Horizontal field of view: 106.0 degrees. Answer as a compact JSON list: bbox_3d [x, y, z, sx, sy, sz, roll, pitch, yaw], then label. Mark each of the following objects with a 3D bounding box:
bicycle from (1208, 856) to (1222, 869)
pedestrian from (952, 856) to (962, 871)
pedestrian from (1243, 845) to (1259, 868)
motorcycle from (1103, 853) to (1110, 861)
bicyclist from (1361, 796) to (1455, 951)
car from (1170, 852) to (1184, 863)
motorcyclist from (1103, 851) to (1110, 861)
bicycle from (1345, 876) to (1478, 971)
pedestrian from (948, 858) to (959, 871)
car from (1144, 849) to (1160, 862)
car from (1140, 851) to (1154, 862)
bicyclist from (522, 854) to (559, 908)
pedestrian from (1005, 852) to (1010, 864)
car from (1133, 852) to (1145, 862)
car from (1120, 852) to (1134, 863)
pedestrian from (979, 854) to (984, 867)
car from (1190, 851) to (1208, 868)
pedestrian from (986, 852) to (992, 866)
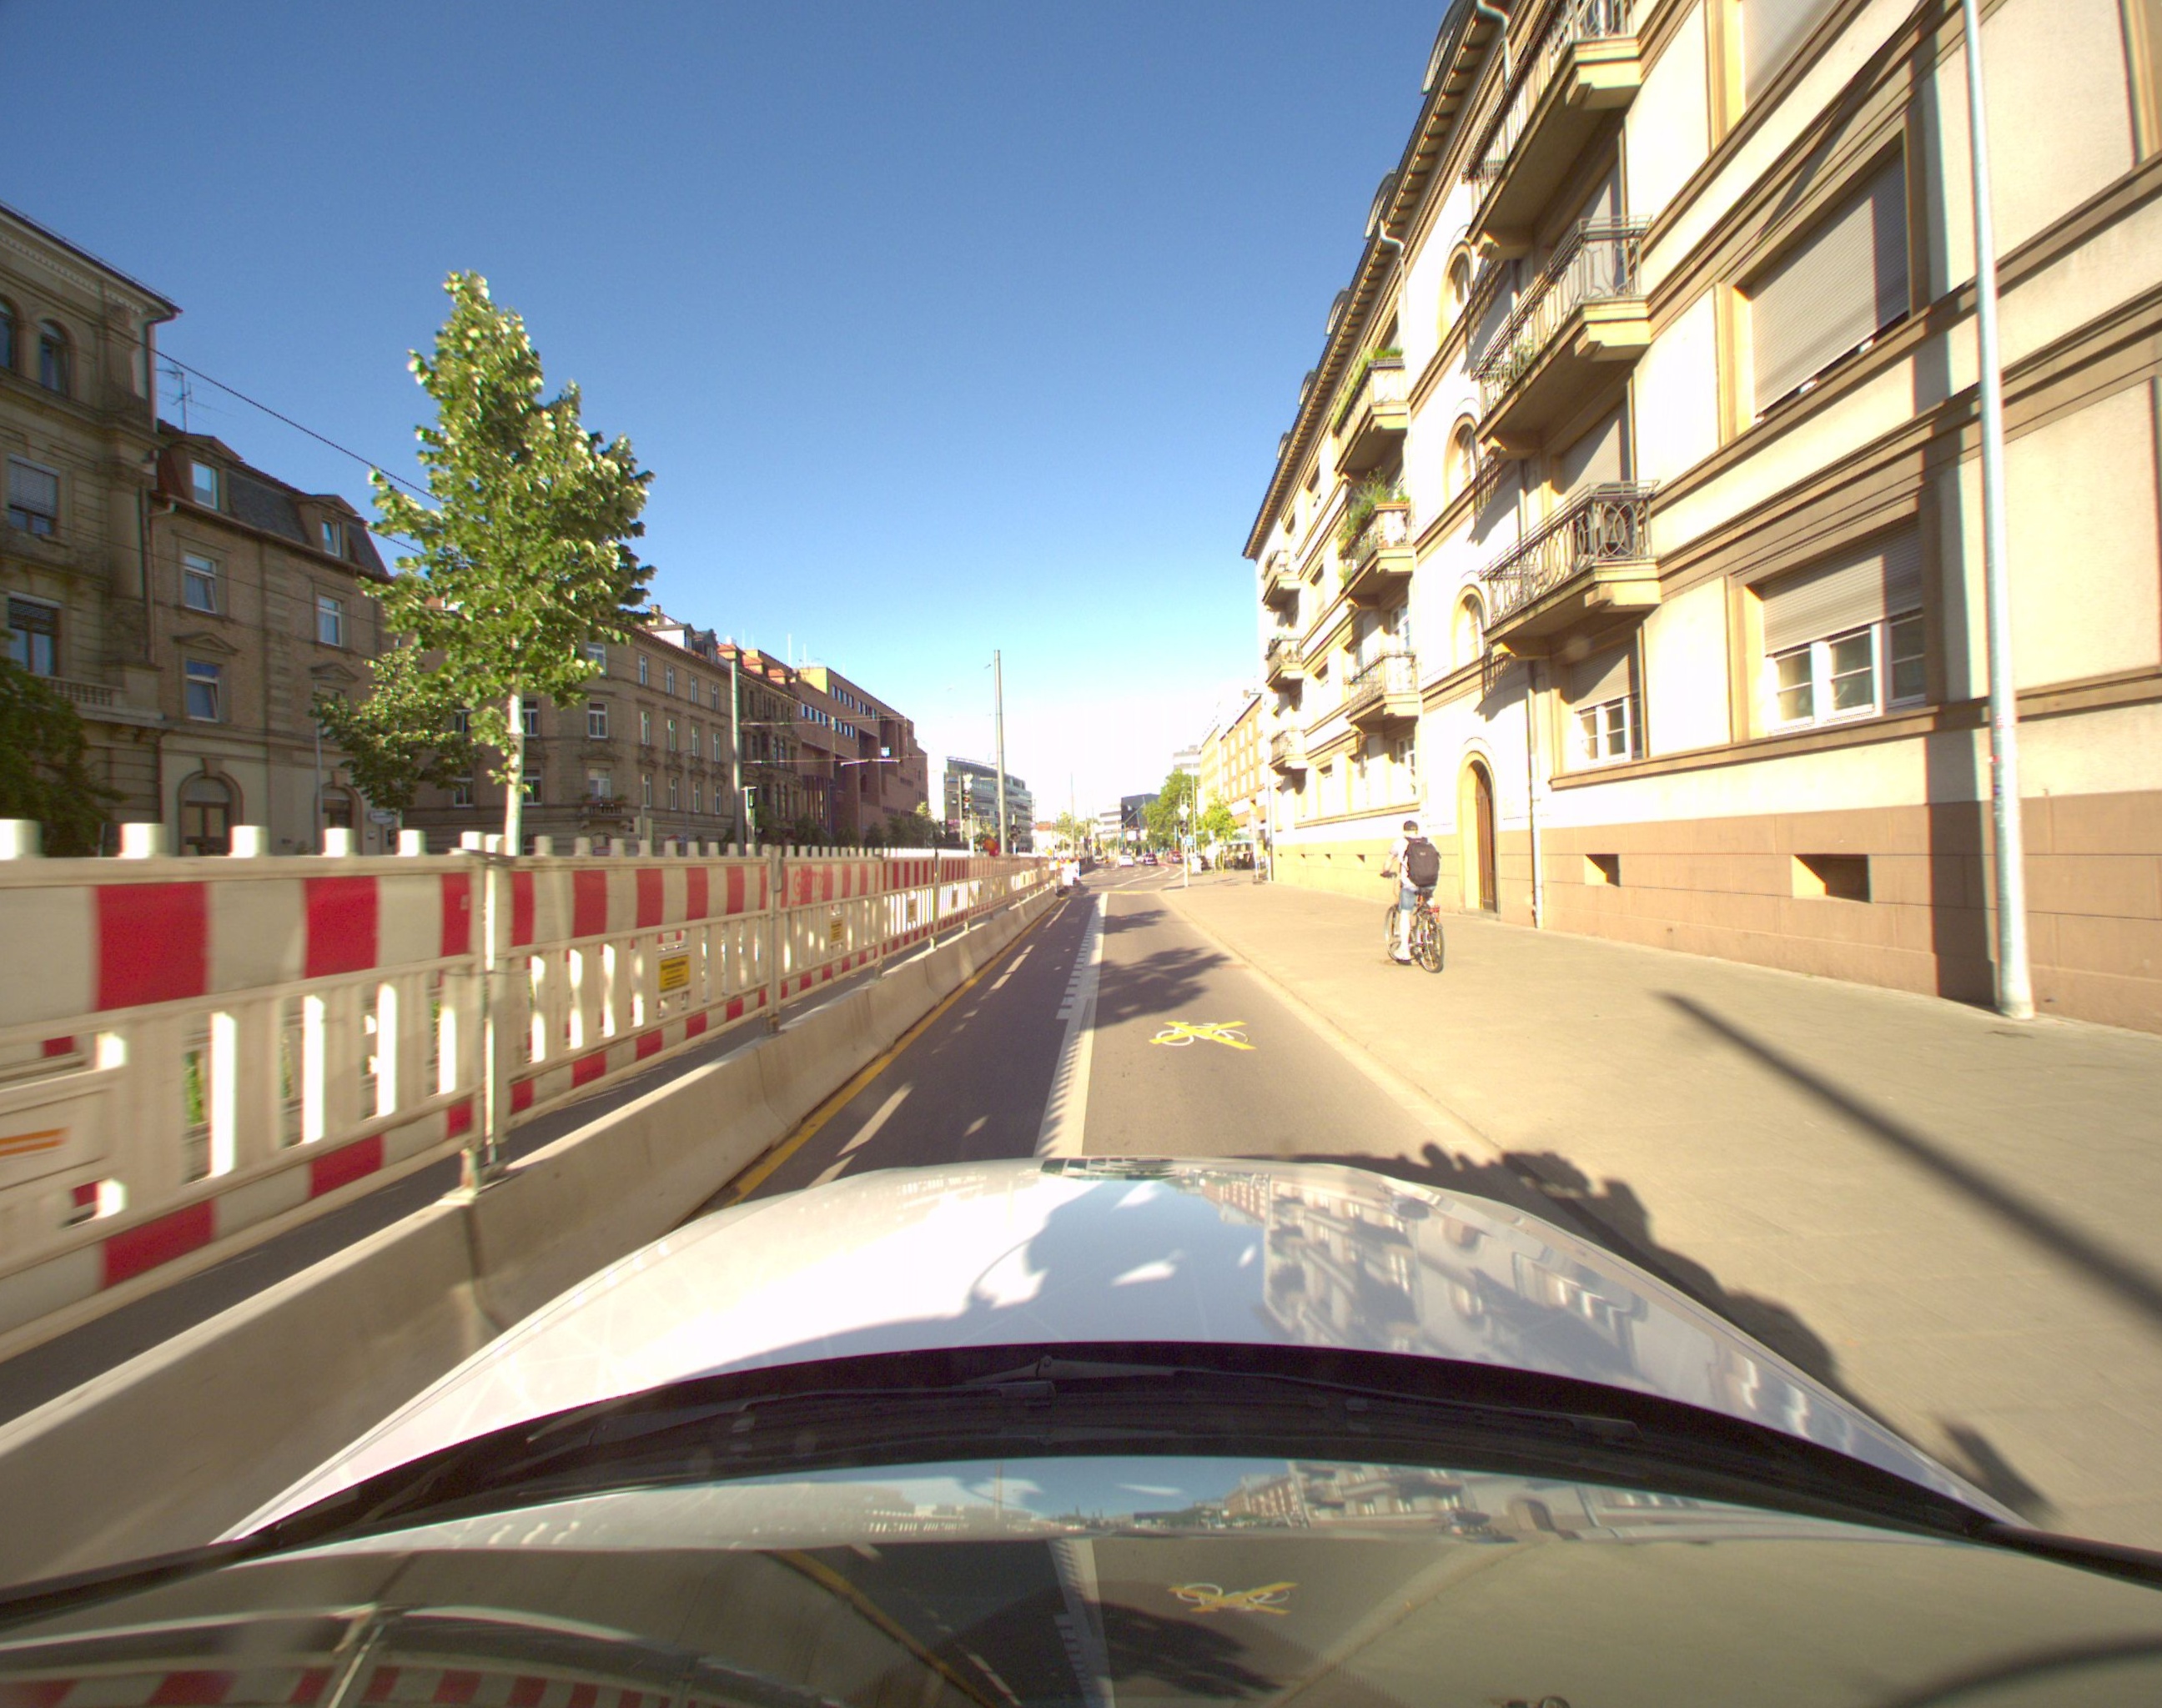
[{"bbox_3d":[12.140,0.765,73.758,0.763,1.081,1.997,-7,-1,-1],"label":"bicycle"},{"bbox_3d":[-11.610,0.865,76.176,0.643,1.309,0.722,-4,0,2],"label":"pedestrian"},{"bbox_3d":[13.701,0.193,65.478,0.876,1.763,1.112,-4,-2,28],"label":"pedestrian"},{"bbox_3d":[4.154,0.508,133.166,1.015,1.312,2.917,0,0,3],"label":"motorcycle"},{"bbox_3d":[3.955,0.225,9.923,0.730,1.763,0.938,-2,0,1],"label":"bicyclist"},{"bbox_3d":[14.709,0.495,125.070,1.839,1.560,4.636,0,1,3],"label":"car"},{"bbox_3d":[4.151,0.333,133.221,1.015,1.603,1.149,0,0,3],"label":"motorcyclist"},{"bbox_3d":[3.972,0.786,10.006,0.764,0.953,2.199,-2,0,2],"label":"bicycle"},{"bbox_3d":[-11.599,0.944,74.134,0.718,1.168,0.722,-4,0,2],"label":"pedestrian"},{"bbox_3d":[9.827,0.195,112.969,1.967,1.759,4.636,0,0,3],"label":"car"},{"bbox_3d":[9.769,0.349,120.525,1.843,1.639,4.381,-1,0,2],"label":"car"},{"bbox_3d":[-18.310,0.897,27.600,0.886,1.773,0.849,-2,0,-24],"label":"bicyclist"},{"bbox_3d":[-9.880,0.513,109.785,0.637,1.696,0.541,0,0,2],"label":"pedestrian"},{"bbox_3d":[9.814,0.476,137.474,1.843,1.497,4.382,-1,0,2],"label":"car"},{"bbox_3d":[6.021,0.416,107.383,1.773,1.414,4.821,0,0,2],"label":"car"},{"bbox_3d":[-11.283,0.733,92.341,0.537,1.459,0.643,0,0,3],"label":"pedestrian"},{"bbox_3d":[12.143,0.558,83.704,1.711,1.636,4.242,-3,0,9],"label":"car"},{"bbox_3d":[-11.464,0.673,101.399,0.620,1.714,0.616,-1,0,3],"label":"pedestrian"}]
